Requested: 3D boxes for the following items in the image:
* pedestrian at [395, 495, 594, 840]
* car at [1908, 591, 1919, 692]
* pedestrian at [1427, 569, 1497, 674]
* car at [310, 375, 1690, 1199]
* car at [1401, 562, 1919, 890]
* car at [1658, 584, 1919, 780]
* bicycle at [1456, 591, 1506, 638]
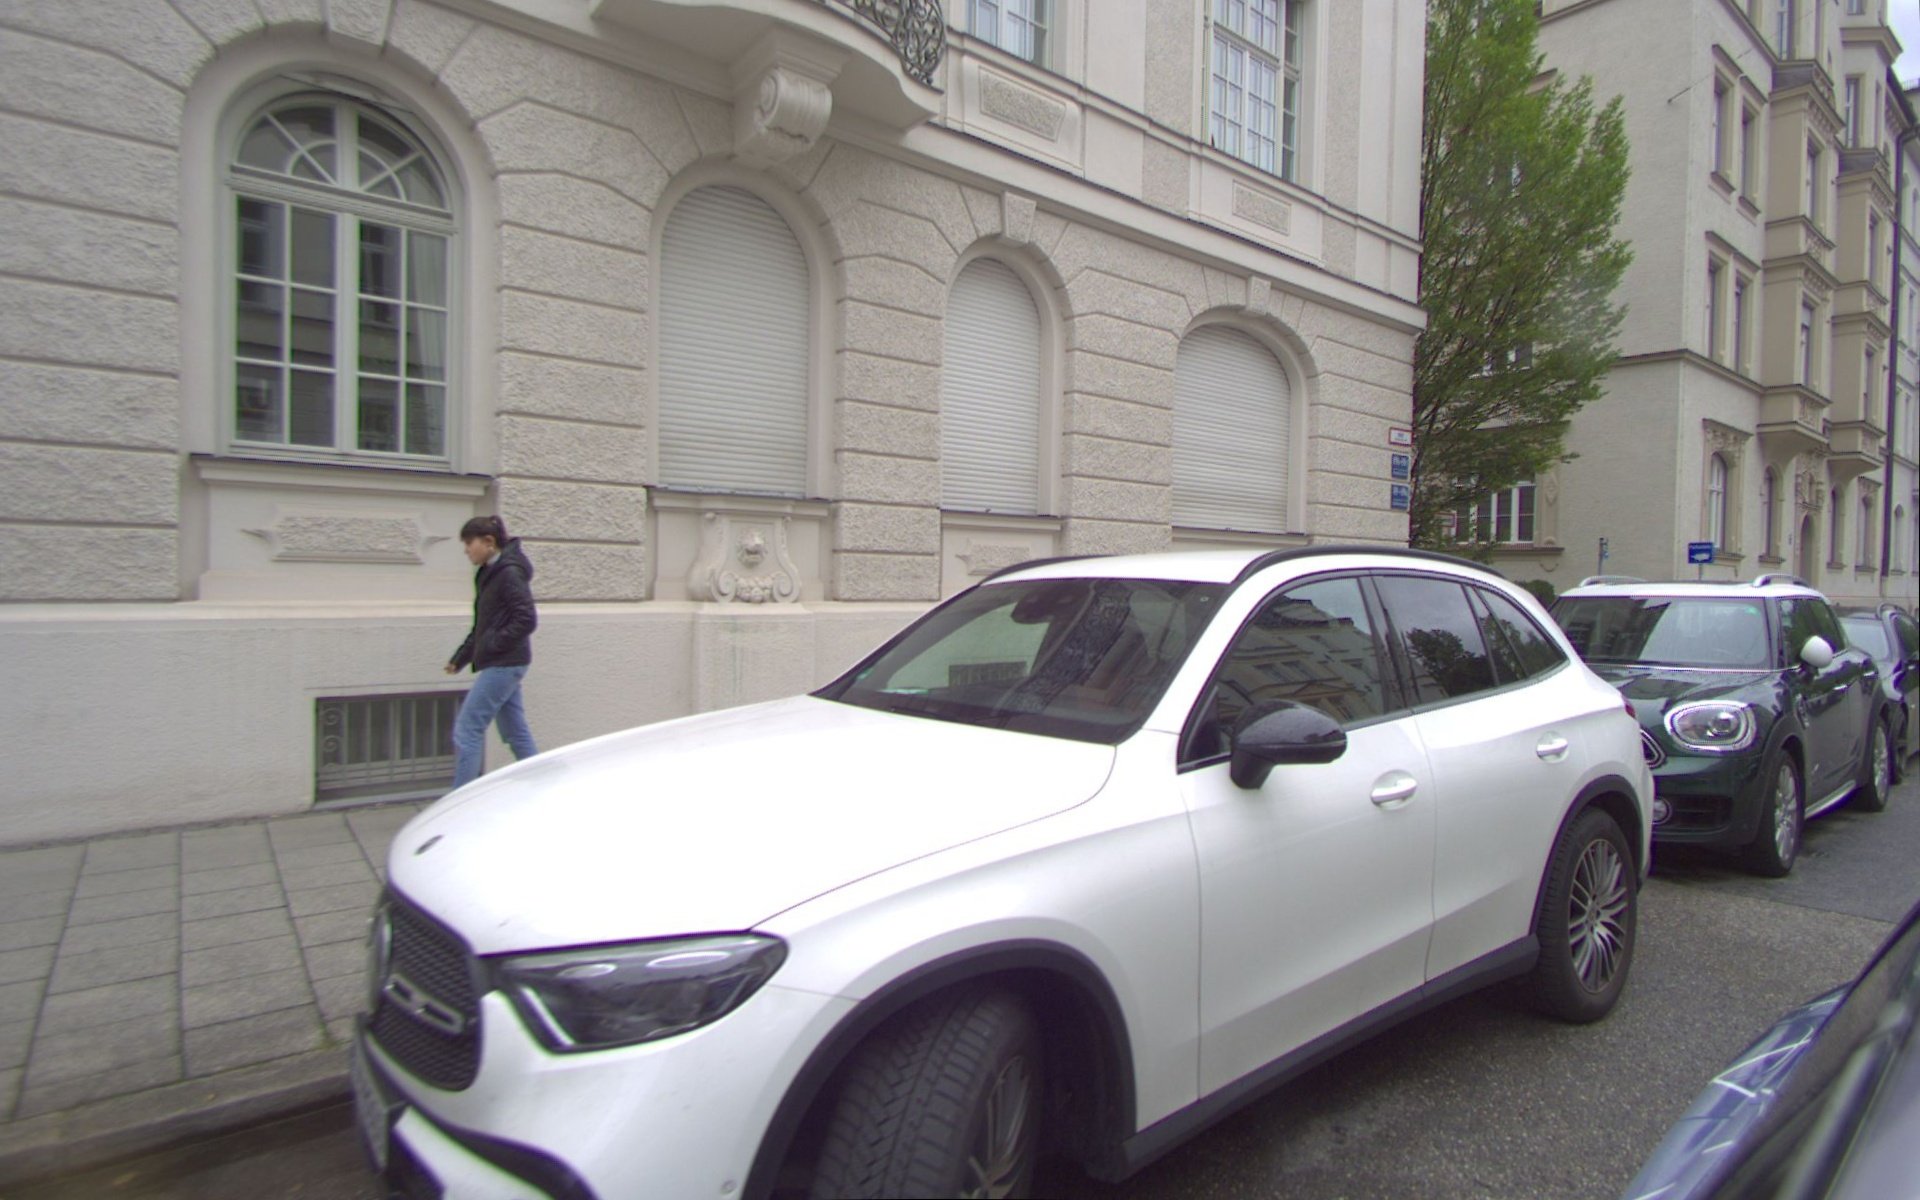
[{"bbox_3d":[-2.528,0.316,5.488,0.797,1.699,0.684,1,3,-39],"label":"pedestrian"},{"bbox_3d":[16.531,0.675,16.126,3.993,1.526,1.666,1,1,-41],"label":"car"},{"bbox_3d":[8.517,0.363,17.201,0.842,1.678,0.862,3,-1,17],"label":"pedestrian"},{"bbox_3d":[0.508,0.547,3.341,4.310,1.657,1.901,1,1,-38],"label":"car"},{"bbox_3d":[4.823,0.594,6.737,4.094,1.544,1.753,0,0,-38],"label":"car"},{"bbox_3d":[8.373,0.630,9.645,4.148,1.470,1.715,1,0,-39],"label":"car"},{"bbox_3d":[10.696,0.279,20.759,1.109,0.919,0.453,-1,3,-37],"label":"bicycle"}]
